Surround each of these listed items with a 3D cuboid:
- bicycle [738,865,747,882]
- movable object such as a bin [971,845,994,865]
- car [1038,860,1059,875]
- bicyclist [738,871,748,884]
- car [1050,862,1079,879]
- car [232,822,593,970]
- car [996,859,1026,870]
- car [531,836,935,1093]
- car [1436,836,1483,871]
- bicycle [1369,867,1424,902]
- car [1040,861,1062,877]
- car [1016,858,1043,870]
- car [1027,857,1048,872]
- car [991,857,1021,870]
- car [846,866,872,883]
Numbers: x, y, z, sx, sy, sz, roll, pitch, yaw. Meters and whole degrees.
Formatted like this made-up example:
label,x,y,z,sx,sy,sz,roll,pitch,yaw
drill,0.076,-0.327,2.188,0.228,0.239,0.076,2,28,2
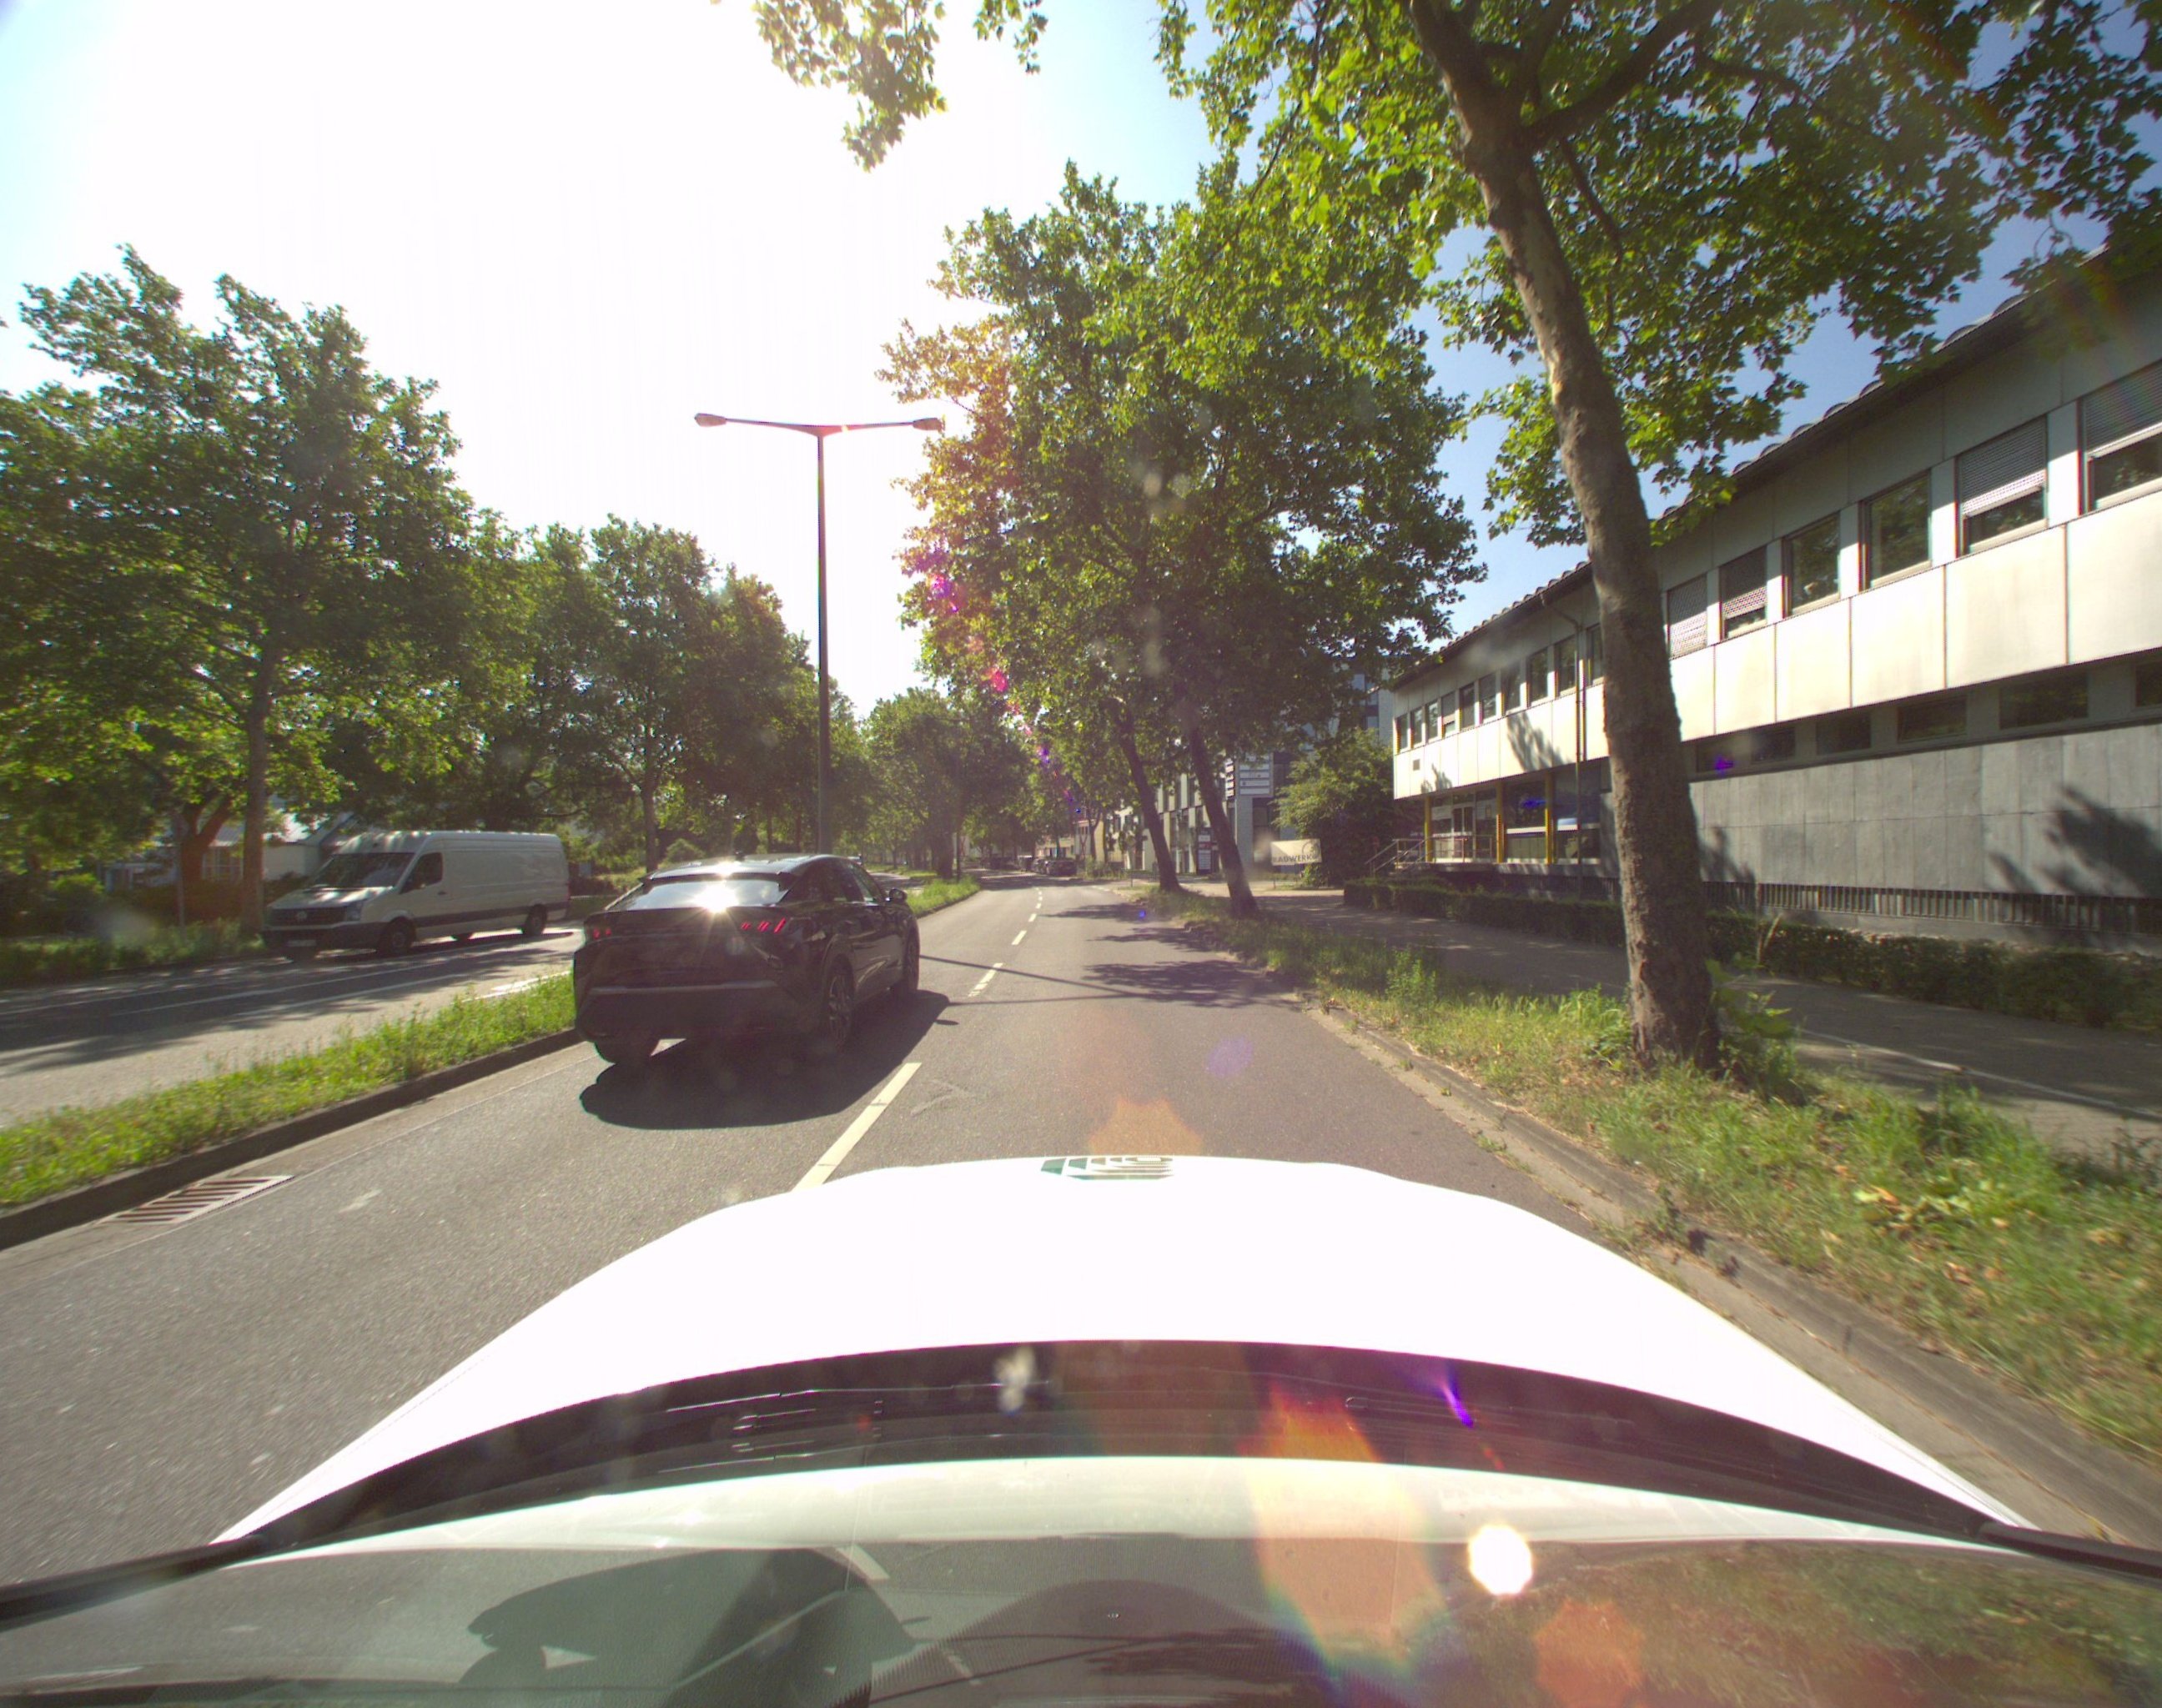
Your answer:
label,x,y,z,sx,sy,sz,roll,pitch,yaw
bicycle,-28.300,1.610,68.124,0.428,1.385,0.952,-1,0,-9
movable object such as a bin,-16.378,0.203,135.587,2.347,3.241,3.391,-1,0,-39
car,-3.469,1.448,85.841,1.706,1.455,4.641,-1,0,-9
bicyclist,-28.292,1.982,68.092,0.428,1.013,1.421,-1,0,-9
car,-1.556,1.496,75.098,1.708,1.487,4.698,-2,0,-13
car,-14.362,0.785,18.469,2.053,2.613,7.219,-2,0,1
car,-10.553,1.558,122.227,4.125,1.633,1.696,-1,0,-30
car,-2.790,0.775,7.808,1.866,1.696,4.436,-2,-1,1
car,19.737,-0.037,42.386,1.659,1.662,3.772,-4,-2,32
bicycle,10.803,1.035,27.905,1.660,1.130,0.510,-3,-1,9
car,-2.962,1.446,80.755,1.706,1.487,4.088,-1,0,-9
car,-7.431,1.389,117.569,3.560,1.640,1.650,-1,0,-17
car,-5.272,1.221,98.160,1.709,1.669,4.512,-1,0,-14
car,-11.406,1.402,123.863,4.127,1.880,1.767,-1,0,-31
car,-22.043,1.988,81.081,1.792,1.556,4.385,-2,0,-7
